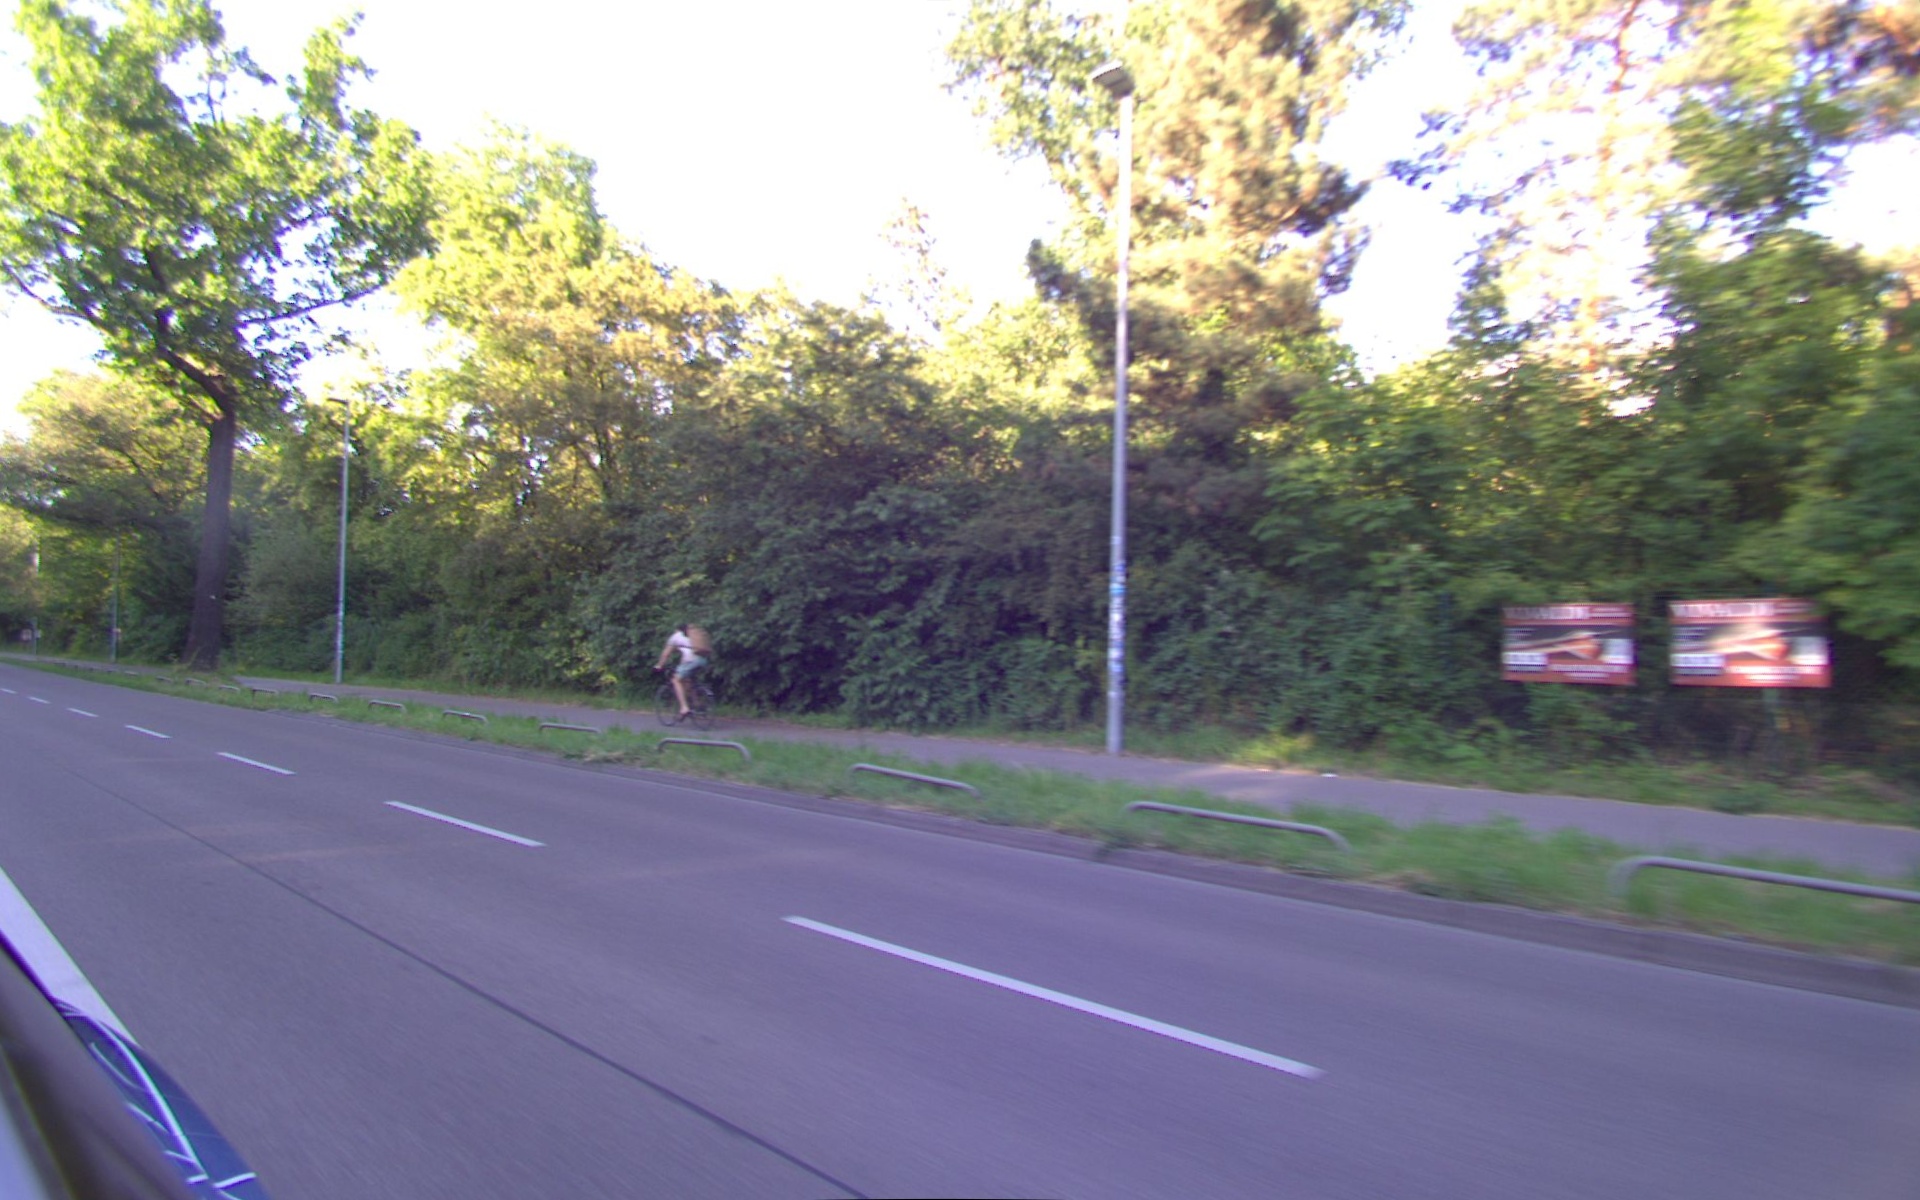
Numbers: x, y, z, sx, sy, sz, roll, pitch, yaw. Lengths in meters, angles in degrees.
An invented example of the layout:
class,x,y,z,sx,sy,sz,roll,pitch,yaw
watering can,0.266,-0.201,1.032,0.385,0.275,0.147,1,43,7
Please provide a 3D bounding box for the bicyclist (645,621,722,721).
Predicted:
class,x,y,z,sx,sy,sz,roll,pitch,yaw
bicyclist,-4.560,1.144,16.677,1.142,1.570,0.705,-1,-1,41

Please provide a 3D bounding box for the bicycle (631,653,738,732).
class,x,y,z,sx,sy,sz,roll,pitch,yaw
bicycle,-4.560,1.495,16.673,1.992,1.156,0.705,-1,-1,41
